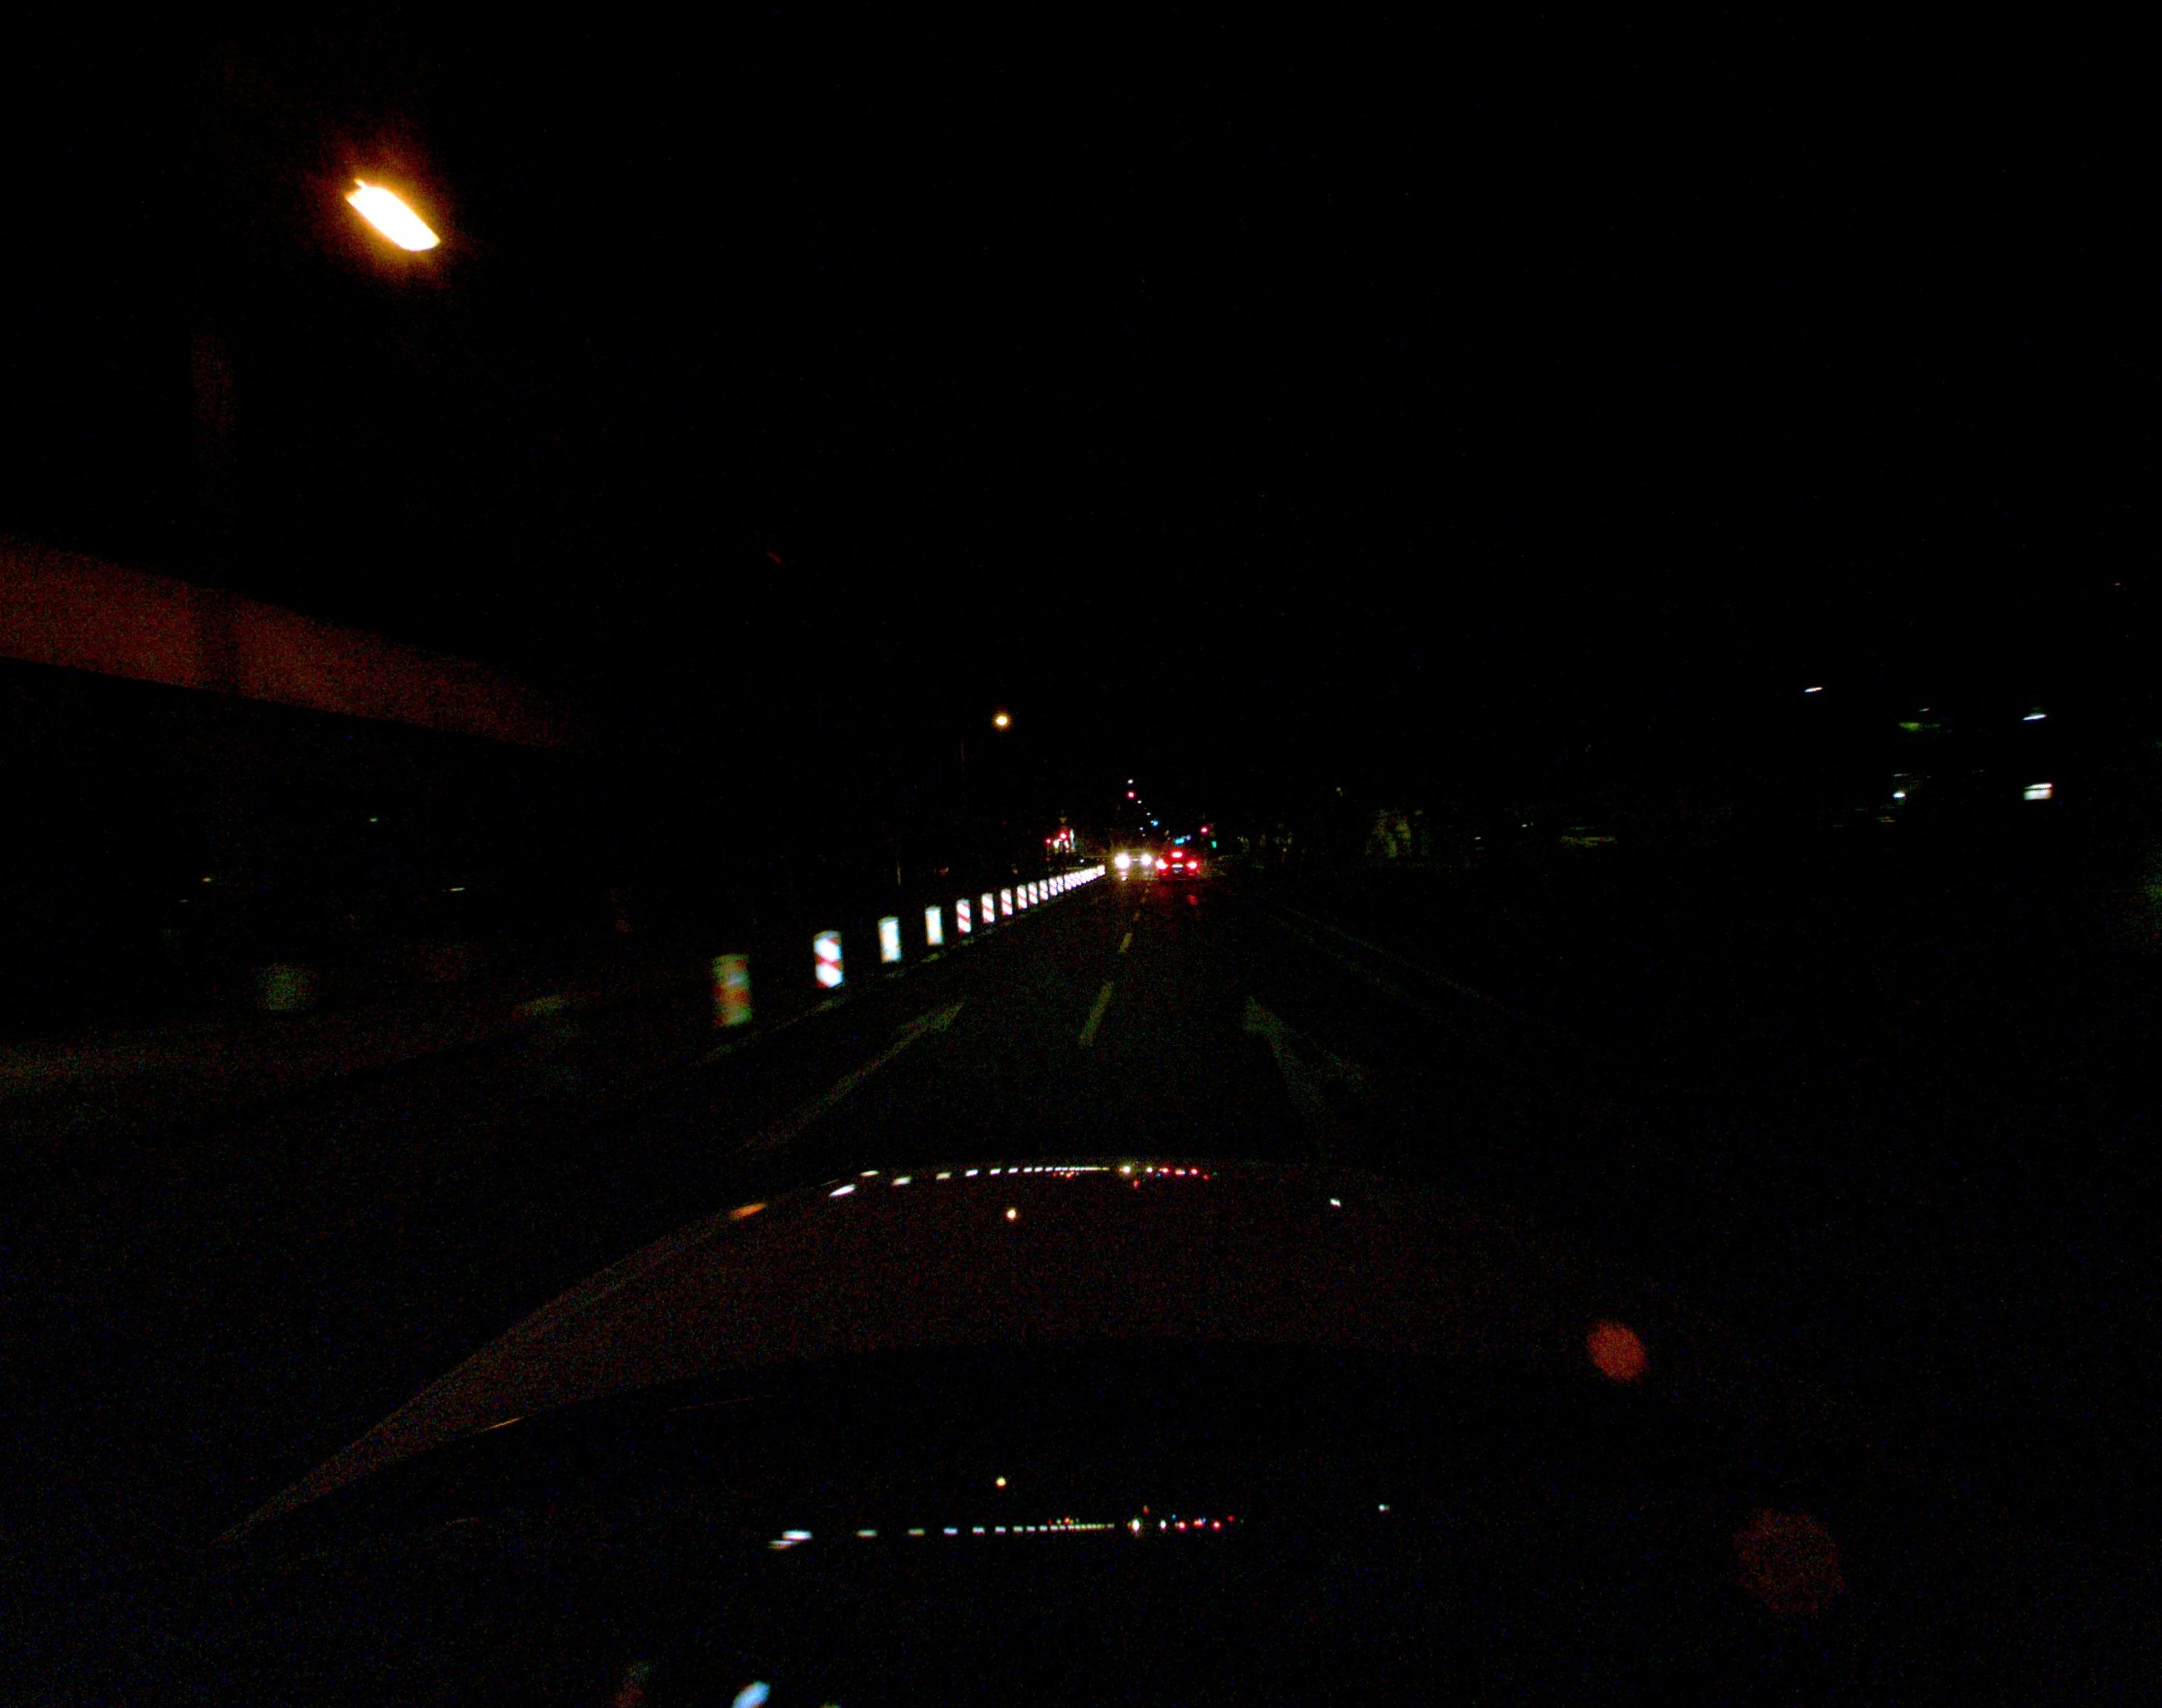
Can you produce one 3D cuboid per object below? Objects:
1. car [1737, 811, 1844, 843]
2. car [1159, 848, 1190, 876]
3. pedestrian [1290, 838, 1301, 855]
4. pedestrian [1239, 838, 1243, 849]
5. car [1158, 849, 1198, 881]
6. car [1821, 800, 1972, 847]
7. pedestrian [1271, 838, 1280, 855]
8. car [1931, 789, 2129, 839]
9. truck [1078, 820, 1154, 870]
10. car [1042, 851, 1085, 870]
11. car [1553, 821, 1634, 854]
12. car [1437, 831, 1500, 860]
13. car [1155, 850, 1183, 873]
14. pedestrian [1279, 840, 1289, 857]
[{"bbox_3d":[36.372,-1.343,41.897,1.984,1.428,4.247,-3,0,5],"label":"car"},{"bbox_3d":[5.274,0.425,46.431,1.629,1.494,4.006,-1,0,5],"label":"car"},{"bbox_3d":[23.016,-0.786,87.201,0.896,1.769,0.908,-4,0,5],"label":"pedestrian"},{"bbox_3d":[28.827,-1.876,146.649,0.485,2.013,0.551,-3,0,5],"label":"pedestrian"},{"bbox_3d":[4.770,0.507,40.258,1.796,1.494,4.738,-1,0,6],"label":"car"},{"bbox_3d":[30.408,-1.096,30.578,1.759,1.533,4.105,-3,0,6],"label":"car"},{"bbox_3d":[20.856,-0.770,87.184,0.710,1.769,0.908,-4,0,5],"label":"pedestrian"},{"bbox_3d":[35.171,-1.416,30.454,1.880,1.512,4.898,-3,0,4],"label":"car"},{"bbox_3d":[2.784,-0.622,69.041,2.764,3.717,10.047,-4,0,-19],"label":"truck"},{"bbox_3d":[-1.734,0.620,79.196,3.984,1.640,1.995,-3,0,-8],"label":"car"},{"bbox_3d":[26.842,-0.829,42.805,1.776,1.533,4.001,-3,0,1],"label":"car"},{"bbox_3d":[20.719,-0.421,43.744,1.505,1.395,4.488,-3,0,5],"label":"car"},{"bbox_3d":[5.752,0.471,53.676,1.721,1.435,4.216,-1,0,4],"label":"car"},{"bbox_3d":[21.720,-0.609,87.197,0.735,1.769,0.908,-4,0,5],"label":"pedestrian"}]
